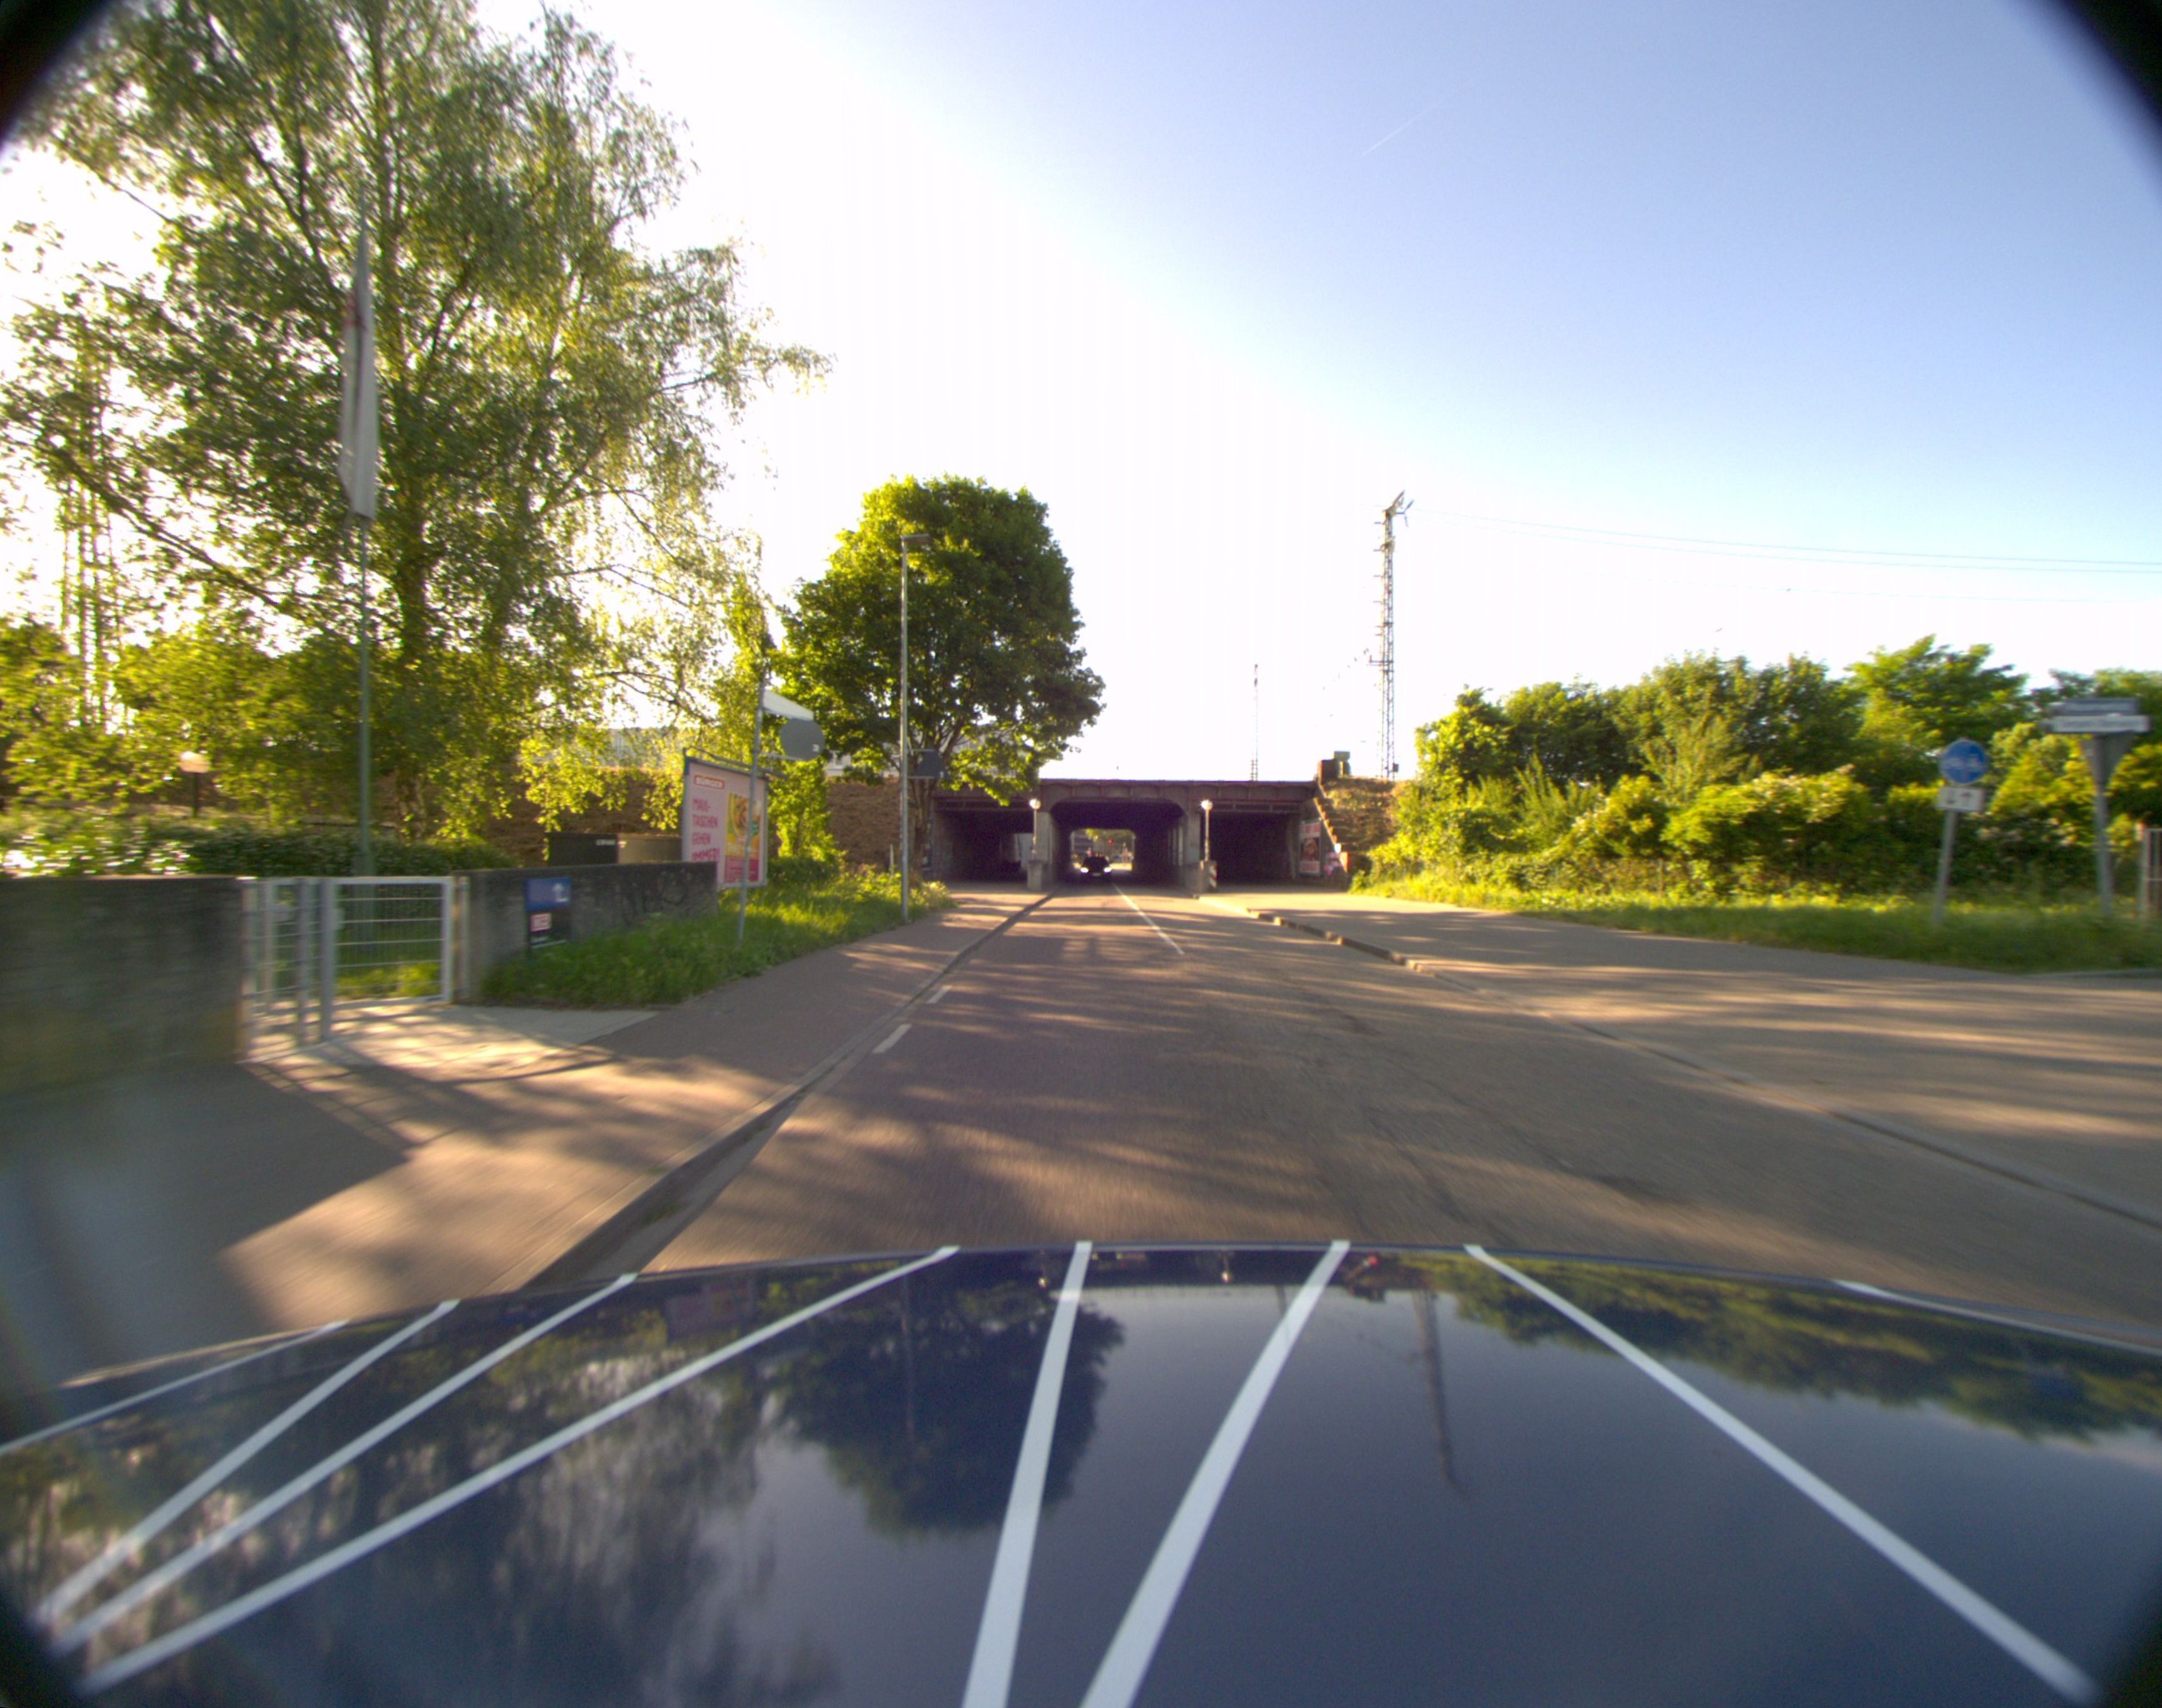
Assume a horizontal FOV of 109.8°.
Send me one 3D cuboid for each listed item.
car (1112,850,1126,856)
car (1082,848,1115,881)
[{"bbox_3d":[12.146,-0.394,241.646,4.140,1.631,1.777,-1,1,22],"label":"car"},{"bbox_3d":[1.157,0.634,48.103,1.940,1.922,4.524,2,0,2],"label":"car"}]
